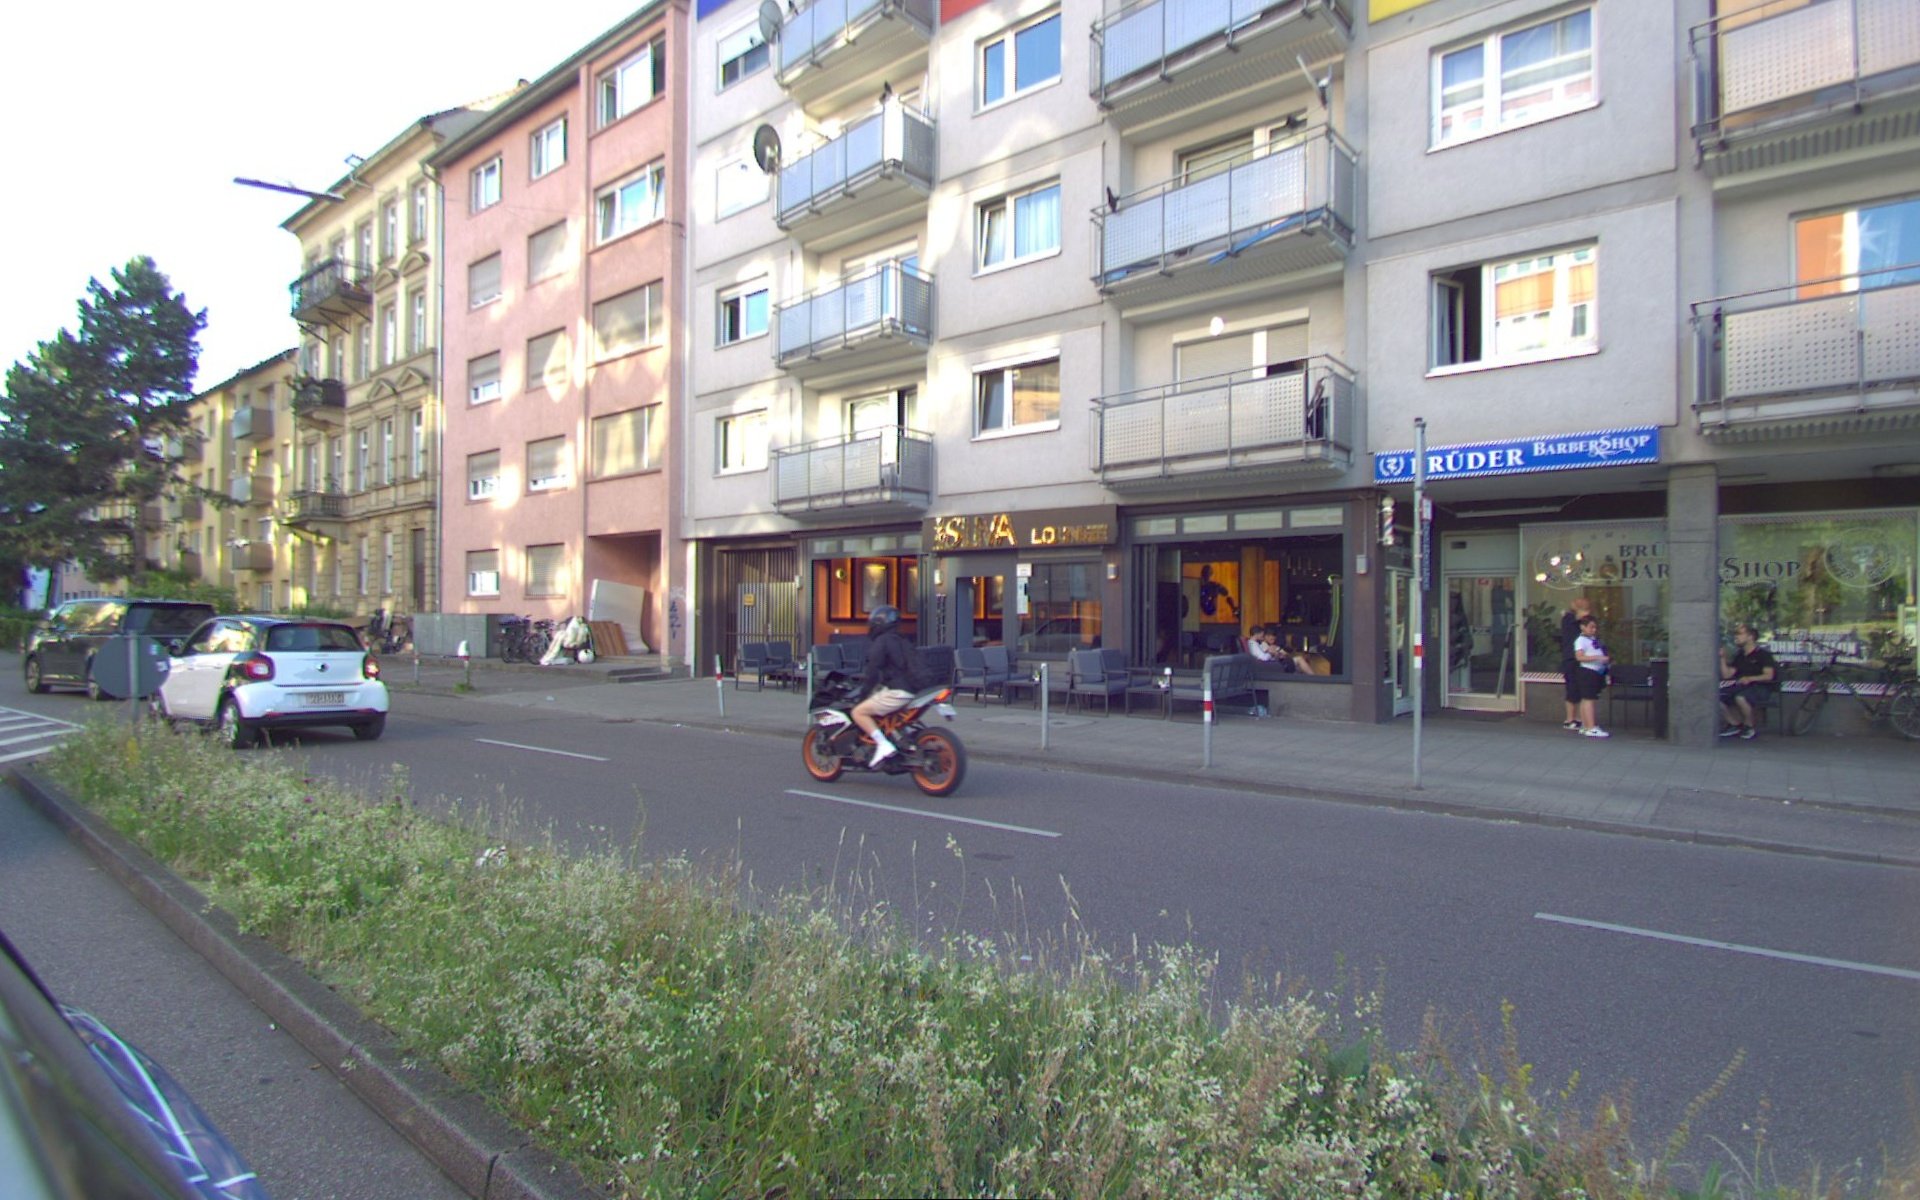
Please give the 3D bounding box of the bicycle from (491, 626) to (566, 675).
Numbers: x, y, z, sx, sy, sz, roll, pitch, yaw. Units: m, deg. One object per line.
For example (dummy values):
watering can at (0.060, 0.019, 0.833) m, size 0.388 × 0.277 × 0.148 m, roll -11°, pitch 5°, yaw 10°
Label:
bicycle at (-10.900, 1.257, 25.612) m, size 0.473 × 1.200 × 1.758 m, roll -1°, pitch -2°, yaw 38°

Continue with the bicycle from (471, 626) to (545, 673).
bicycle at (-11.833, 1.276, 26.541) m, size 0.473 × 1.200 × 1.758 m, roll -1°, pitch -2°, yaw 38°

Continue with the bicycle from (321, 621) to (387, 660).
bicycle at (-19.294, 1.266, 32.251) m, size 0.473 × 1.200 × 1.758 m, roll -1°, pitch -2°, yaw 38°

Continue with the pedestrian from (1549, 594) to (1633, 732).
pedestrian at (7.900, 0.774, 12.701) m, size 0.650 × 1.685 × 0.625 m, roll 0°, pitch -1°, yaw 5°

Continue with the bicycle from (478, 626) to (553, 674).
bicycle at (-11.444, 1.271, 26.105) m, size 0.473 × 1.200 × 1.758 m, roll -1°, pitch -2°, yaw 38°

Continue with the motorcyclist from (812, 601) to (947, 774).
motorcyclist at (-0.724, 0.752, 9.111) m, size 0.957 × 1.452 × 0.741 m, roll -1°, pitch -3°, yaw 39°

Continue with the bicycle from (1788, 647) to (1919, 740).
bicycle at (10.732, 1.073, 11.707) m, size 1.691 × 1.006 × 0.620 m, roll 0°, pitch -1°, yaw 32°

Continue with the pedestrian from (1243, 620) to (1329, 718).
pedestrian at (4.731, 0.970, 14.679) m, size 0.882 × 1.357 × 0.961 m, roll -1°, pitch -2°, yaw 40°

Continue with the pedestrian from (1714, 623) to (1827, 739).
pedestrian at (9.553, 0.935, 11.943) m, size 0.798 × 1.323 × 0.626 m, roll 0°, pitch -1°, yaw -3°

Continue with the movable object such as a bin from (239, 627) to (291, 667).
movable object such as a bin at (-22.099, 1.482, 32.192) m, size 0.837 × 1.242 × 1.193 m, roll 0°, pitch -1°, yaw 0°

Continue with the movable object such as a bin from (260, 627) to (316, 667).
movable object such as a bin at (-21.171, 1.468, 31.909) m, size 0.916 × 1.242 × 1.292 m, roll 0°, pitch -1°, yaw 0°

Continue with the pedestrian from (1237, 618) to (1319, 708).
pedestrian at (5.030, 0.965, 15.993) m, size 0.974 × 1.357 × 0.871 m, roll -1°, pitch -2°, yaw 40°

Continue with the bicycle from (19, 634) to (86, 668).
bicycle at (-28.648, 1.590, 31.940) m, size 2.270 × 1.045 × 0.542 m, roll -1°, pitch -1°, yaw 20°

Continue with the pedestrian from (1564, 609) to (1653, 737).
pedestrian at (7.697, 0.850, 12.039) m, size 0.650 × 1.478 × 0.625 m, roll 0°, pitch -1°, yaw 5°

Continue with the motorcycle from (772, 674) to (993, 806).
motorcycle at (-0.733, 1.197, 9.102) m, size 2.046 × 0.970 × 0.741 m, roll -1°, pitch -2°, yaw 40°

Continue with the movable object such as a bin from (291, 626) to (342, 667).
movable object such as a bin at (-20.242, 1.458, 31.861) m, size 0.837 × 1.242 × 1.193 m, roll 0°, pitch -1°, yaw 0°

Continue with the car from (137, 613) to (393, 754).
car at (-8.832, 0.964, 12.799) m, size 3.397 × 1.554 × 1.577 m, roll -1°, pitch -3°, yaw 36°

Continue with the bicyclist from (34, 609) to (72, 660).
bicyclist at (-28.629, 1.077, 31.938) m, size 0.853 × 1.581 × 0.542 m, roll -1°, pitch -1°, yaw 20°

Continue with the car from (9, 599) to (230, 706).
car at (-16.480, 0.972, 19.797) m, size 4.684 × 1.868 × 1.876 m, roll -1°, pitch -2°, yaw 31°
